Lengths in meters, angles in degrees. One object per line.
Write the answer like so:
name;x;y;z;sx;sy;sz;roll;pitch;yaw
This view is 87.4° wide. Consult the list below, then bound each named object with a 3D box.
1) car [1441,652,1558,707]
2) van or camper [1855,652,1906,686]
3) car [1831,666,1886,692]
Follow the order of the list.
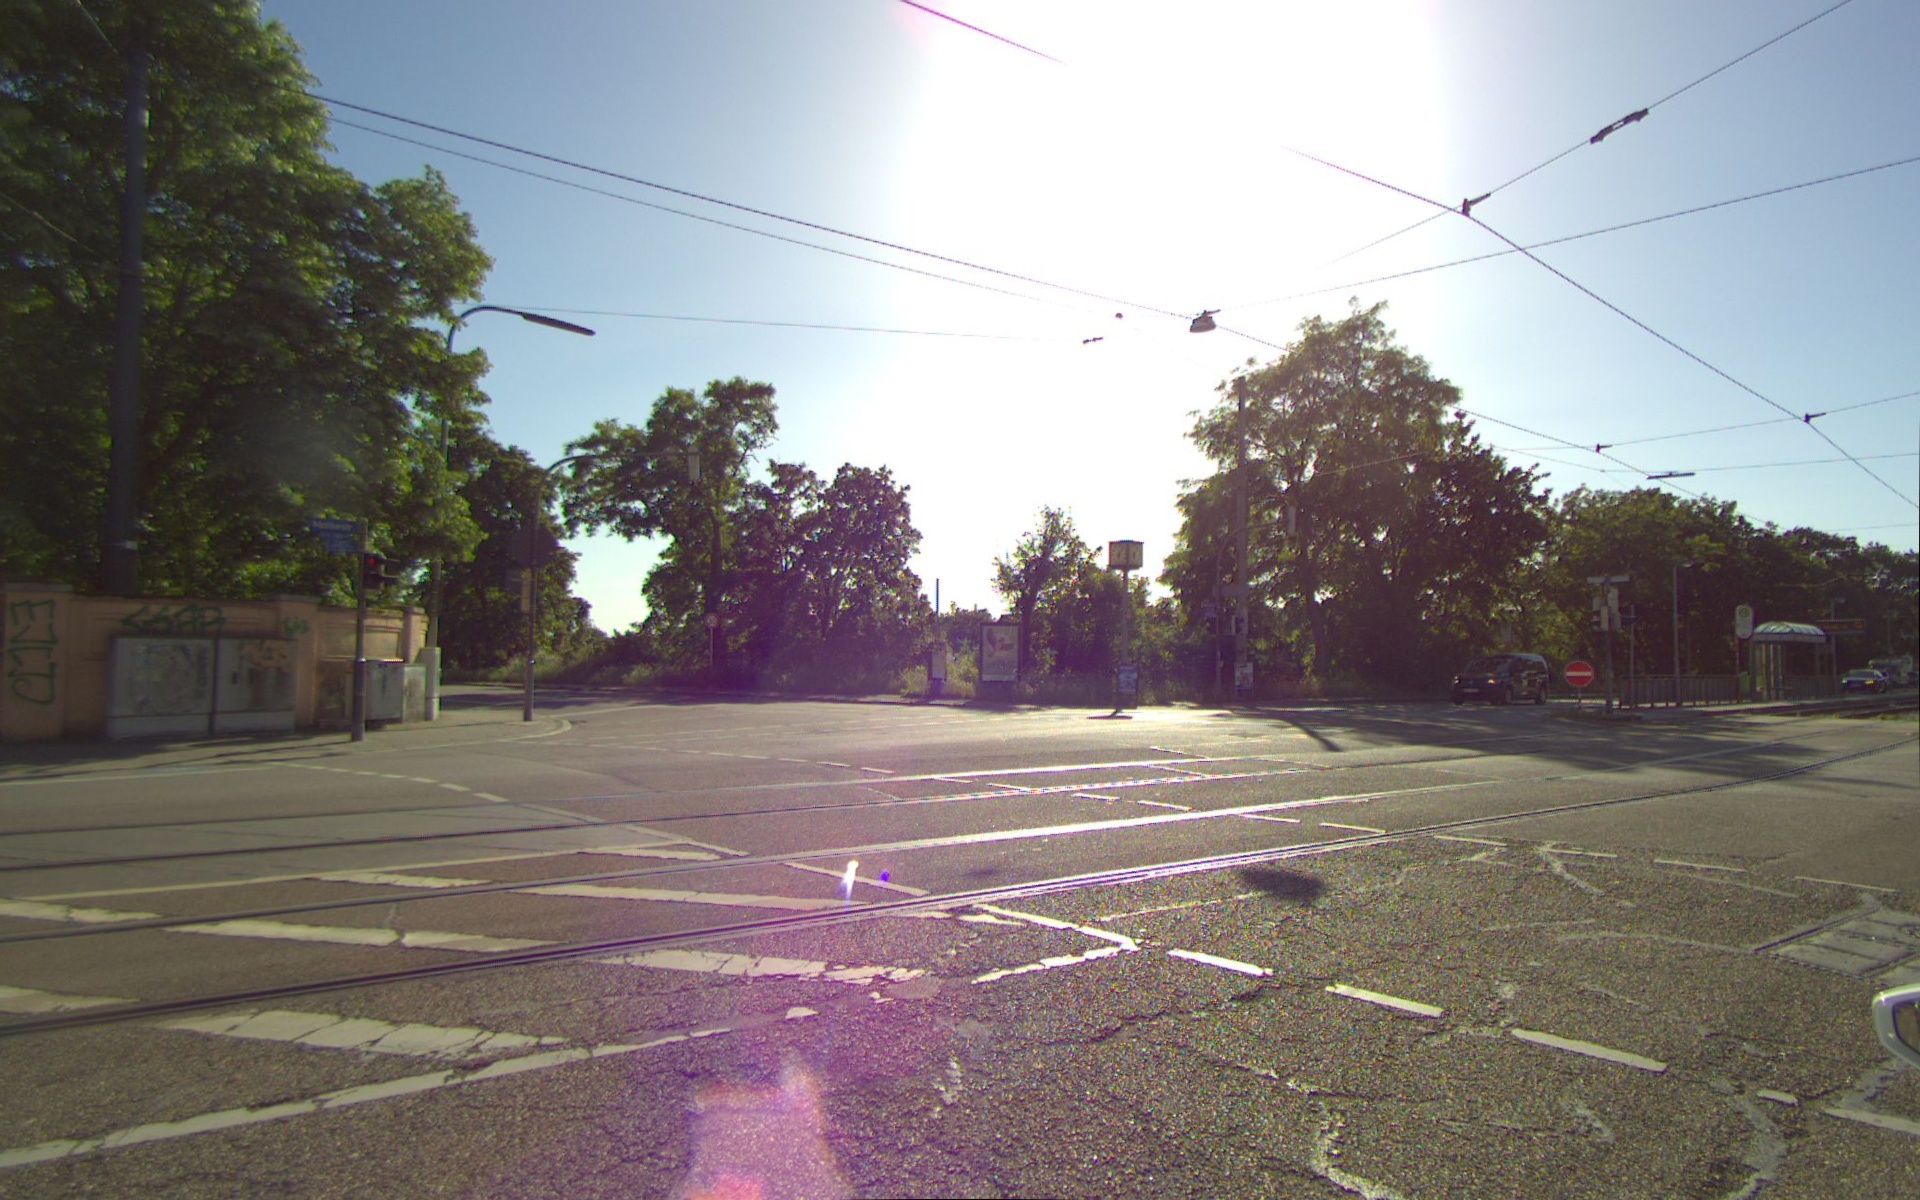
car;18.982;2.792;35.265;4.993;1.789;1.977;5;-5;-41
van or camper;86.541;6.473;94.365;6.733;3.146;2.569;3;-4;-40
car;56.754;4.956;63.439;3.965;1.587;1.907;3;-4;-38
